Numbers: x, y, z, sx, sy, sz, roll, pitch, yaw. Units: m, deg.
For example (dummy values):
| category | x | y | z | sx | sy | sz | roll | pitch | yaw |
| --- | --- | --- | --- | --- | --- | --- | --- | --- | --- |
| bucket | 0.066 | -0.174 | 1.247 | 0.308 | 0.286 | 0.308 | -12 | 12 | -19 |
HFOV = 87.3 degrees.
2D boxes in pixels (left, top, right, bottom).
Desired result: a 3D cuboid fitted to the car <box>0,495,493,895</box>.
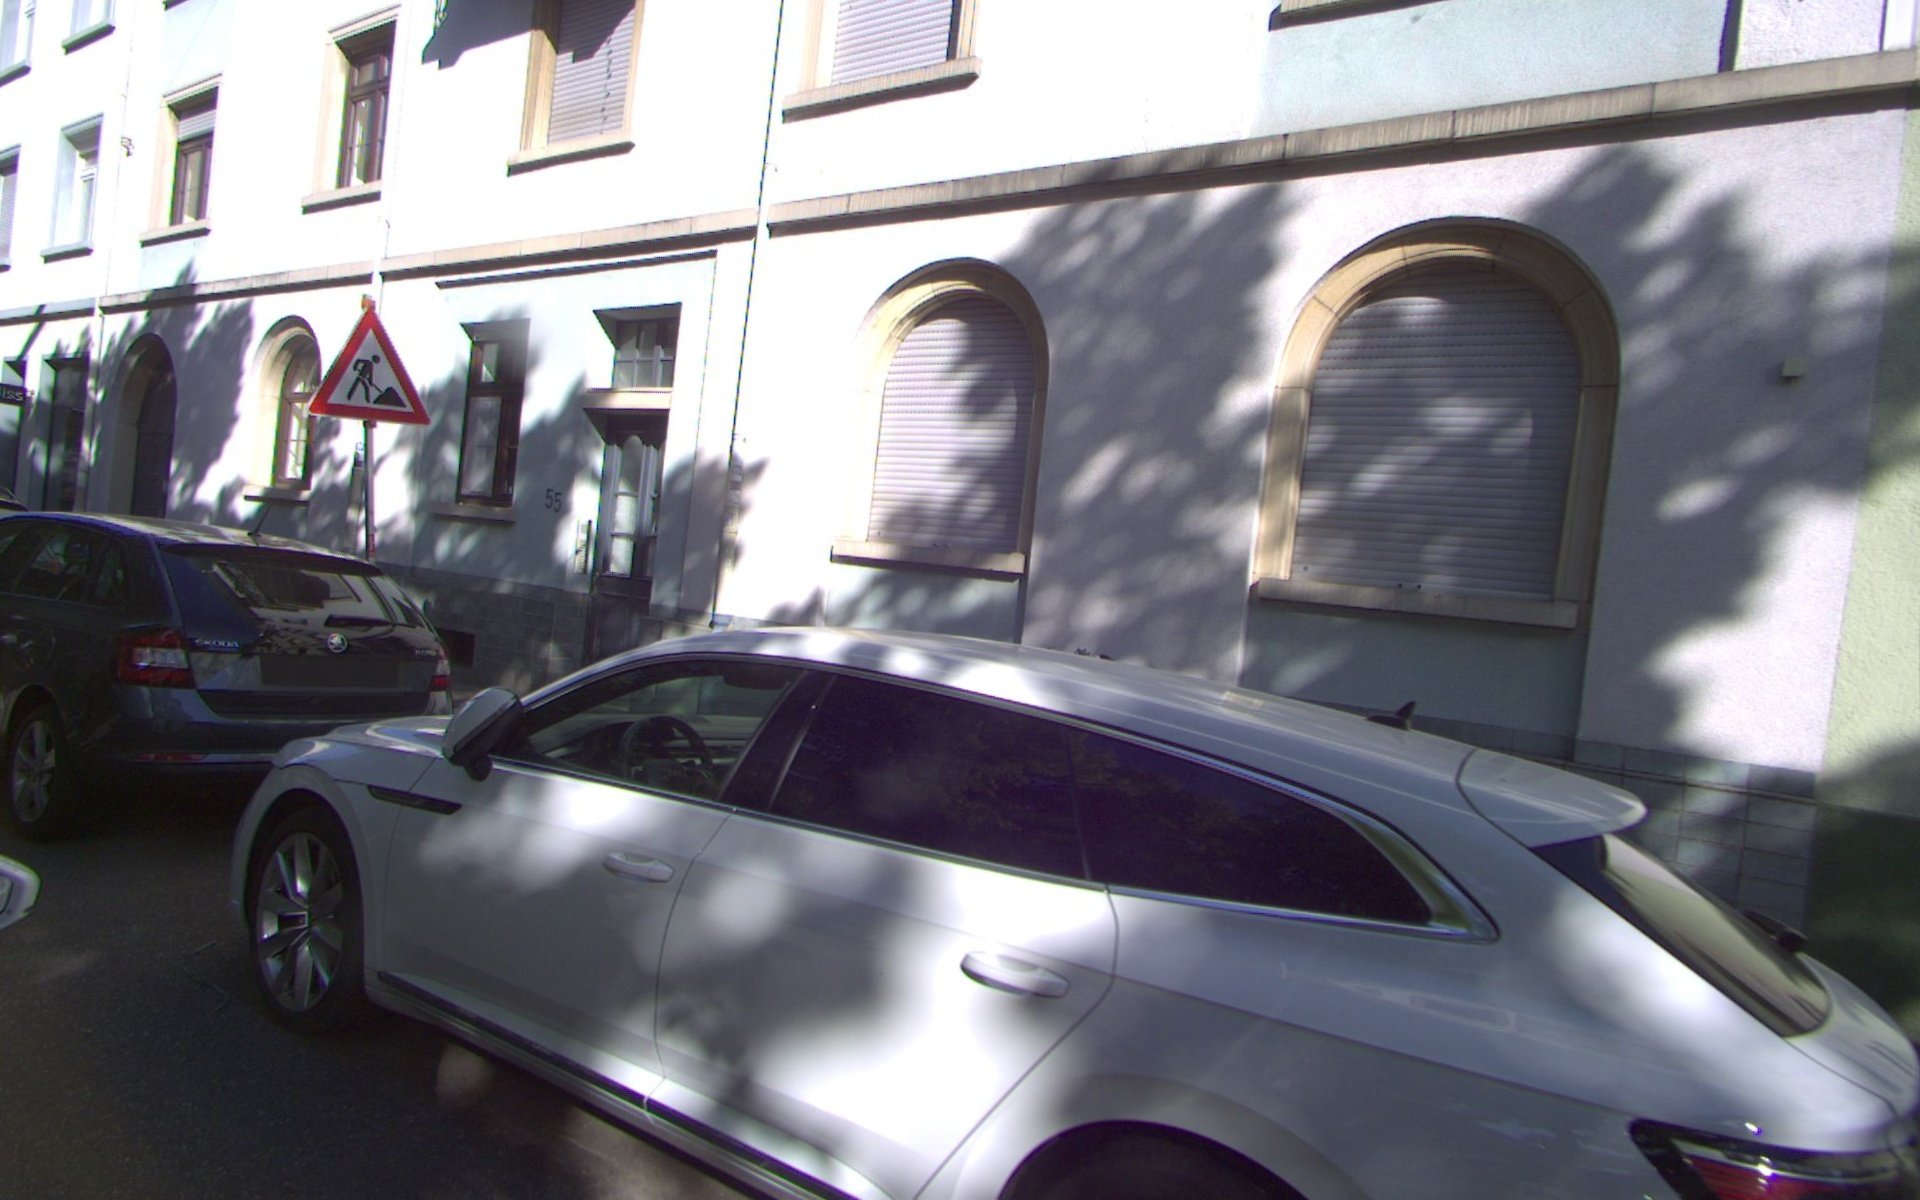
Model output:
| category | x | y | z | sx | sy | sz | roll | pitch | yaw |
| --- | --- | --- | --- | --- | --- | --- | --- | --- | --- |
| car | -4.635 | 0.264 | 5.594 | 3.898 | 1.511 | 1.602 | 7 | 0 | 29 |

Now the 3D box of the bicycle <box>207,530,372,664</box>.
| category | x | y | z | sx | sy | sz | roll | pitch | yaw |
| --- | --- | --- | --- | --- | --- | --- | --- | --- | --- |
| bicycle | -7.168 | -0.041 | 10.729 | 1.814 | 1.201 | 0.408 | 7 | 0 | 22 |

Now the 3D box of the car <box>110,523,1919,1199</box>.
| category | x | y | z | sx | sy | sz | roll | pitch | yaw |
| --- | --- | --- | --- | --- | --- | --- | --- | --- | --- |
| car | -0.411 | 0.733 | 2.883 | 4.491 | 1.438 | 1.609 | 7 | 0 | 30 |

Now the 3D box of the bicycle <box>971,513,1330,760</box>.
| category | x | y | z | sx | sy | sz | roll | pitch | yaw |
| --- | --- | --- | --- | --- | --- | --- | --- | --- | --- |
| bicycle | 1.063 | 0.164 | 5.940 | 1.950 | 1.195 | 0.395 | 7 | 0 | 31 |

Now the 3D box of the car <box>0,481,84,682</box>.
| category | x | y | z | sx | sy | sz | roll | pitch | yaw |
| --- | --- | --- | --- | --- | --- | --- | --- | --- | --- |
| car | -9.378 | -0.360 | 8.673 | 3.975 | 1.569 | 1.582 | 7 | -1 | 32 |
